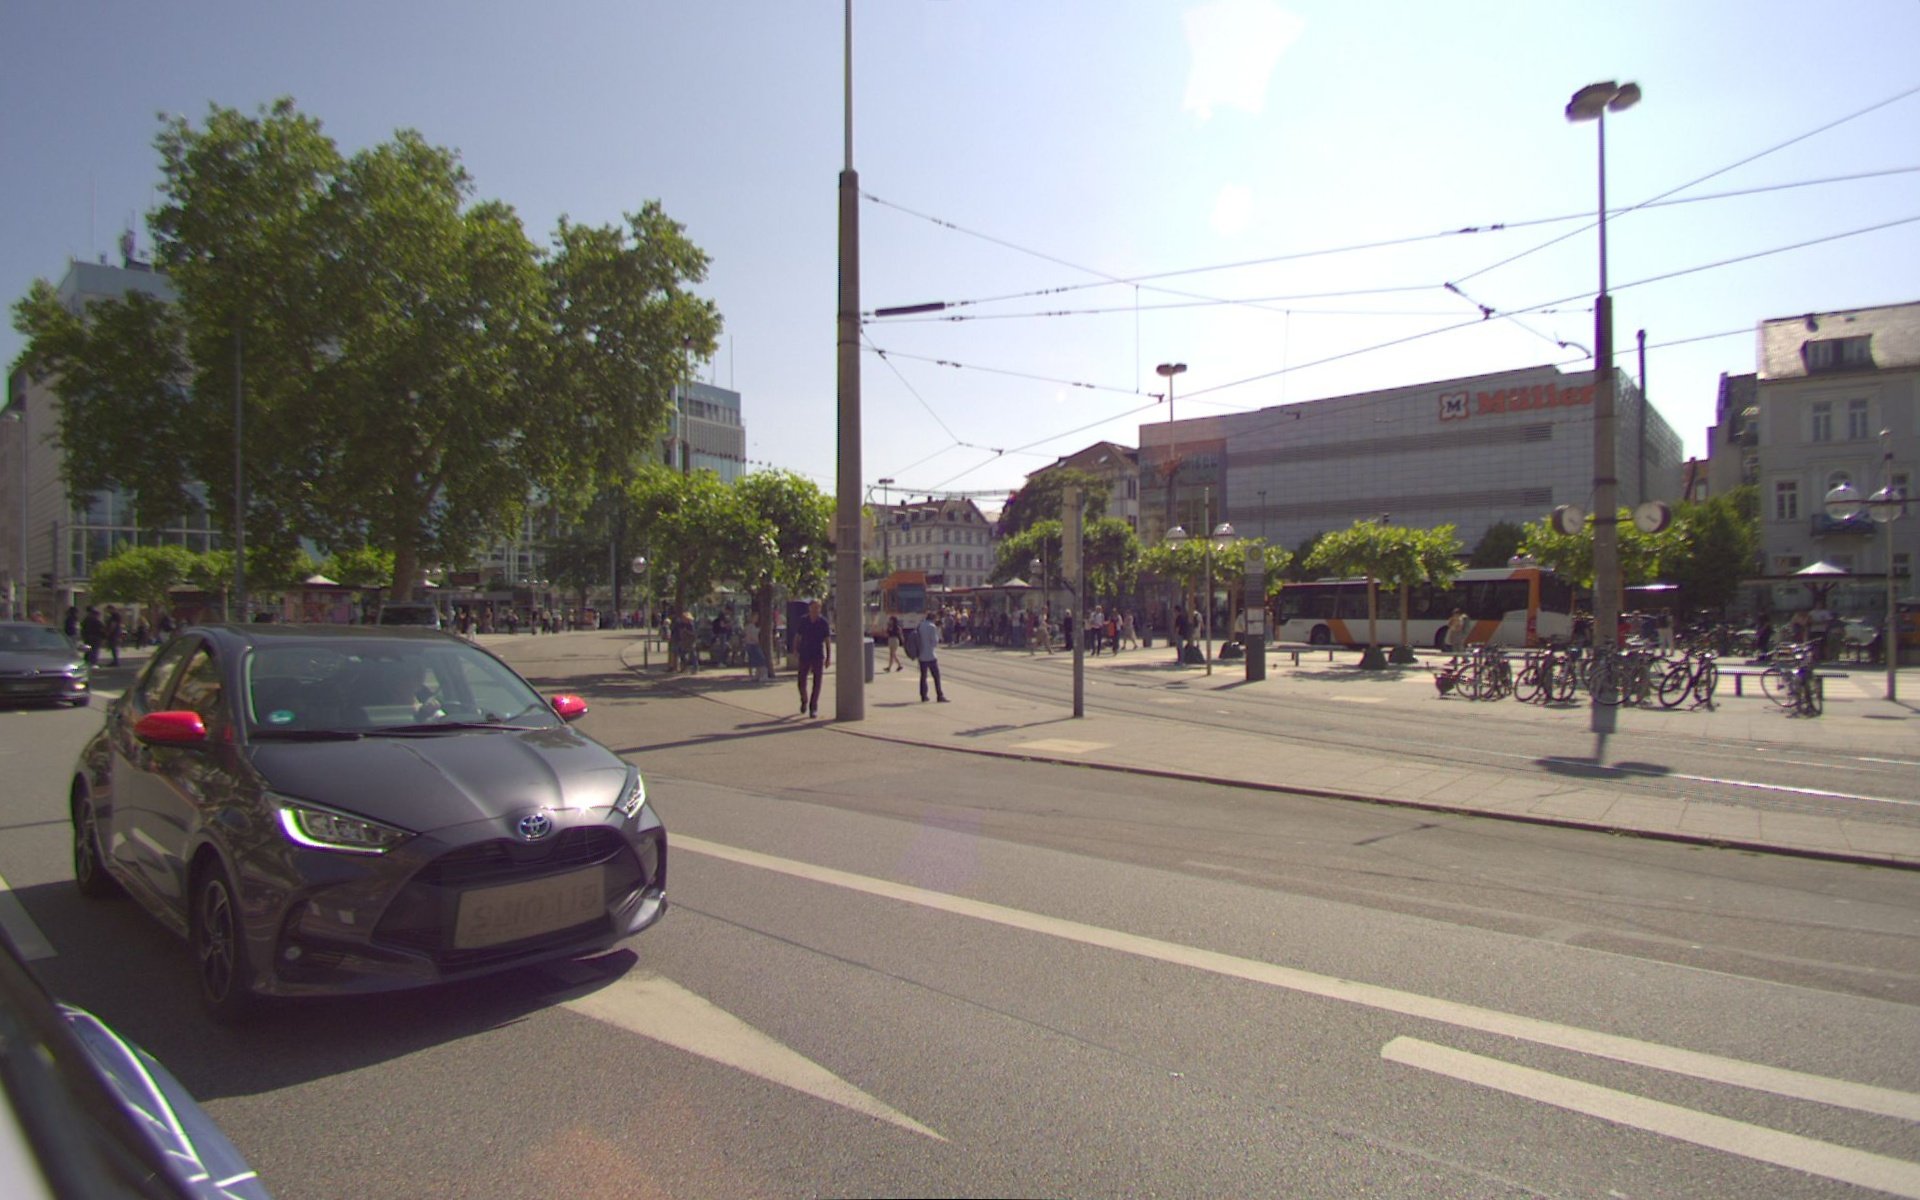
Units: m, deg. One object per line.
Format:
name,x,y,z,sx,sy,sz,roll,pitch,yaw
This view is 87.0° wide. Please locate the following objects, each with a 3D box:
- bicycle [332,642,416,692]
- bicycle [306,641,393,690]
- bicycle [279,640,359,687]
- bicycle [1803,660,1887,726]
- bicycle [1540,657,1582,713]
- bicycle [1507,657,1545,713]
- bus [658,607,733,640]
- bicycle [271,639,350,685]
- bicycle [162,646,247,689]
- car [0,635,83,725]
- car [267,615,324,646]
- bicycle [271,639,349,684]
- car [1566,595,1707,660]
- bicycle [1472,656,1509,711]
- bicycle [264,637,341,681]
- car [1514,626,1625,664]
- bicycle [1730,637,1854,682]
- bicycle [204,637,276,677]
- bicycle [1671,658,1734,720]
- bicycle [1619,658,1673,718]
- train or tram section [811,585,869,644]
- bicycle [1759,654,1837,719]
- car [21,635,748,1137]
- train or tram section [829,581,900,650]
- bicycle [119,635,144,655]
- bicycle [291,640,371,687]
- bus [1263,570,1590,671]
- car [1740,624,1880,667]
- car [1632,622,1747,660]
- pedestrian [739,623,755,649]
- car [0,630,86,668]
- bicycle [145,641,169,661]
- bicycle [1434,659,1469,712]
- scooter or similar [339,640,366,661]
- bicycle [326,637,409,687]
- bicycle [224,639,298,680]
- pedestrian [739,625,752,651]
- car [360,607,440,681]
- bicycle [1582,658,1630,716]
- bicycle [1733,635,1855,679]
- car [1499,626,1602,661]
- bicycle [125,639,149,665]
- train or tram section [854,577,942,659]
bicycle,-14.419,1.634,24.951,0.482,1.156,1.735,-2,-1,39
bicycle,-15.560,1.660,25.832,0.482,1.156,1.842,-2,-1,39
bicycle,-17.032,1.671,26.924,0.482,1.156,1.735,-2,-1,39
bicycle,14.198,1.463,16.289,0.579,0.876,1.853,-2,0,28
bicycle,11.102,1.550,18.713,0.544,0.862,1.853,-2,0,28
bicycle,10.608,1.571,18.995,0.544,0.862,1.853,-2,0,28
bus,-25.407,2.182,98.054,2.363,2.811,12.152,-2,0,8
bicycle,-17.484,1.665,27.283,0.482,1.156,1.735,-2,-1,39
bicycle,-19.663,1.736,26.312,2.616,1.030,0.823,-2,0,31
car,-16.660,1.331,17.569,3.999,1.415,1.677,-2,-2,42
car,-47.123,2.164,71.704,3.989,2.029,1.977,-2,0,34
bicycle,-17.846,1.659,27.820,0.482,1.156,1.735,-2,-1,39
car,31.967,1.310,47.952,5.387,2.909,1.936,-2,0,35
bicycle,10.196,1.574,19.447,0.580,0.878,1.853,-2,0,28
bicycle,-18.351,1.624,28.277,0.482,1.156,1.735,-2,-1,39
car,26.443,1.934,43.925,3.991,1.519,1.740,-2,0,35
bicycle,28.344,2.008,34.529,0.809,1.389,3.157,-2,0,-43
bicycle,-22.058,1.725,31.018,0.482,1.156,1.735,-2,-1,39
bicycle,12.723,1.503,17.376,0.579,0.876,1.853,-2,0,28
bicycle,12.042,1.524,17.804,0.544,0.862,1.853,-2,0,28
train or tram section,-8.665,0.960,71.970,2.578,3.856,9.547,-2,0,-16
bicycle,13.679,1.388,16.563,0.579,0.876,1.853,-2,0,28
car,-3.036,0.929,5.006,3.995,1.486,1.760,-1,-3,39
train or tram section,-6.069,0.915,62.757,2.578,3.856,9.547,-2,0,-16
bicycle,-47.514,2.567,58.029,1.753,1.156,0.586,-1,-1,34
bicycle,-16.429,1.634,26.471,0.482,1.156,1.735,-2,-1,39
bus,18.118,0.757,40.955,3.014,3.445,12.498,-2,0,-30
car,32.852,1.746,39.265,3.991,1.519,1.740,-2,0,35
car,31.819,1.760,44.256,3.991,1.519,1.740,-2,0,35
pedestrian,-12.081,2.028,57.303,0.547,1.483,0.759,-2,0,-42
car,-55.593,2.937,61.431,1.968,2.029,4.008,-2,0,-9
bicycle,-46.876,2.958,59.041,1.753,1.156,0.586,-1,-1,34
bicycle,9.624,1.644,19.782,0.544,0.862,1.853,-2,0,28
scooter or similar,-20.295,1.670,33.807,0.570,0.652,0.788,-2,0,-16
bicycle,-14.759,1.529,25.253,0.482,1.156,1.735,-2,-1,39
bicycle,-20.816,1.754,30.162,0.482,1.156,1.735,-2,-1,39
pedestrian,-12.582,2.227,59.281,0.547,1.483,0.457,-2,0,-42
car,-17.235,1.282,31.291,1.966,2.029,5.083,-2,0,-28
bicycle,11.541,1.535,18.118,0.544,0.862,1.853,-2,0,28
bicycle,28.941,1.957,35.188,0.809,1.389,3.157,-2,0,-43
car,27.606,2.016,47.351,3.991,1.519,1.740,-2,0,35
bicycle,-39.157,2.451,48.155,0.718,1.152,1.917,-2,0,-35
train or tram section,-3.490,0.871,53.536,2.578,3.856,9.547,-2,0,-16
